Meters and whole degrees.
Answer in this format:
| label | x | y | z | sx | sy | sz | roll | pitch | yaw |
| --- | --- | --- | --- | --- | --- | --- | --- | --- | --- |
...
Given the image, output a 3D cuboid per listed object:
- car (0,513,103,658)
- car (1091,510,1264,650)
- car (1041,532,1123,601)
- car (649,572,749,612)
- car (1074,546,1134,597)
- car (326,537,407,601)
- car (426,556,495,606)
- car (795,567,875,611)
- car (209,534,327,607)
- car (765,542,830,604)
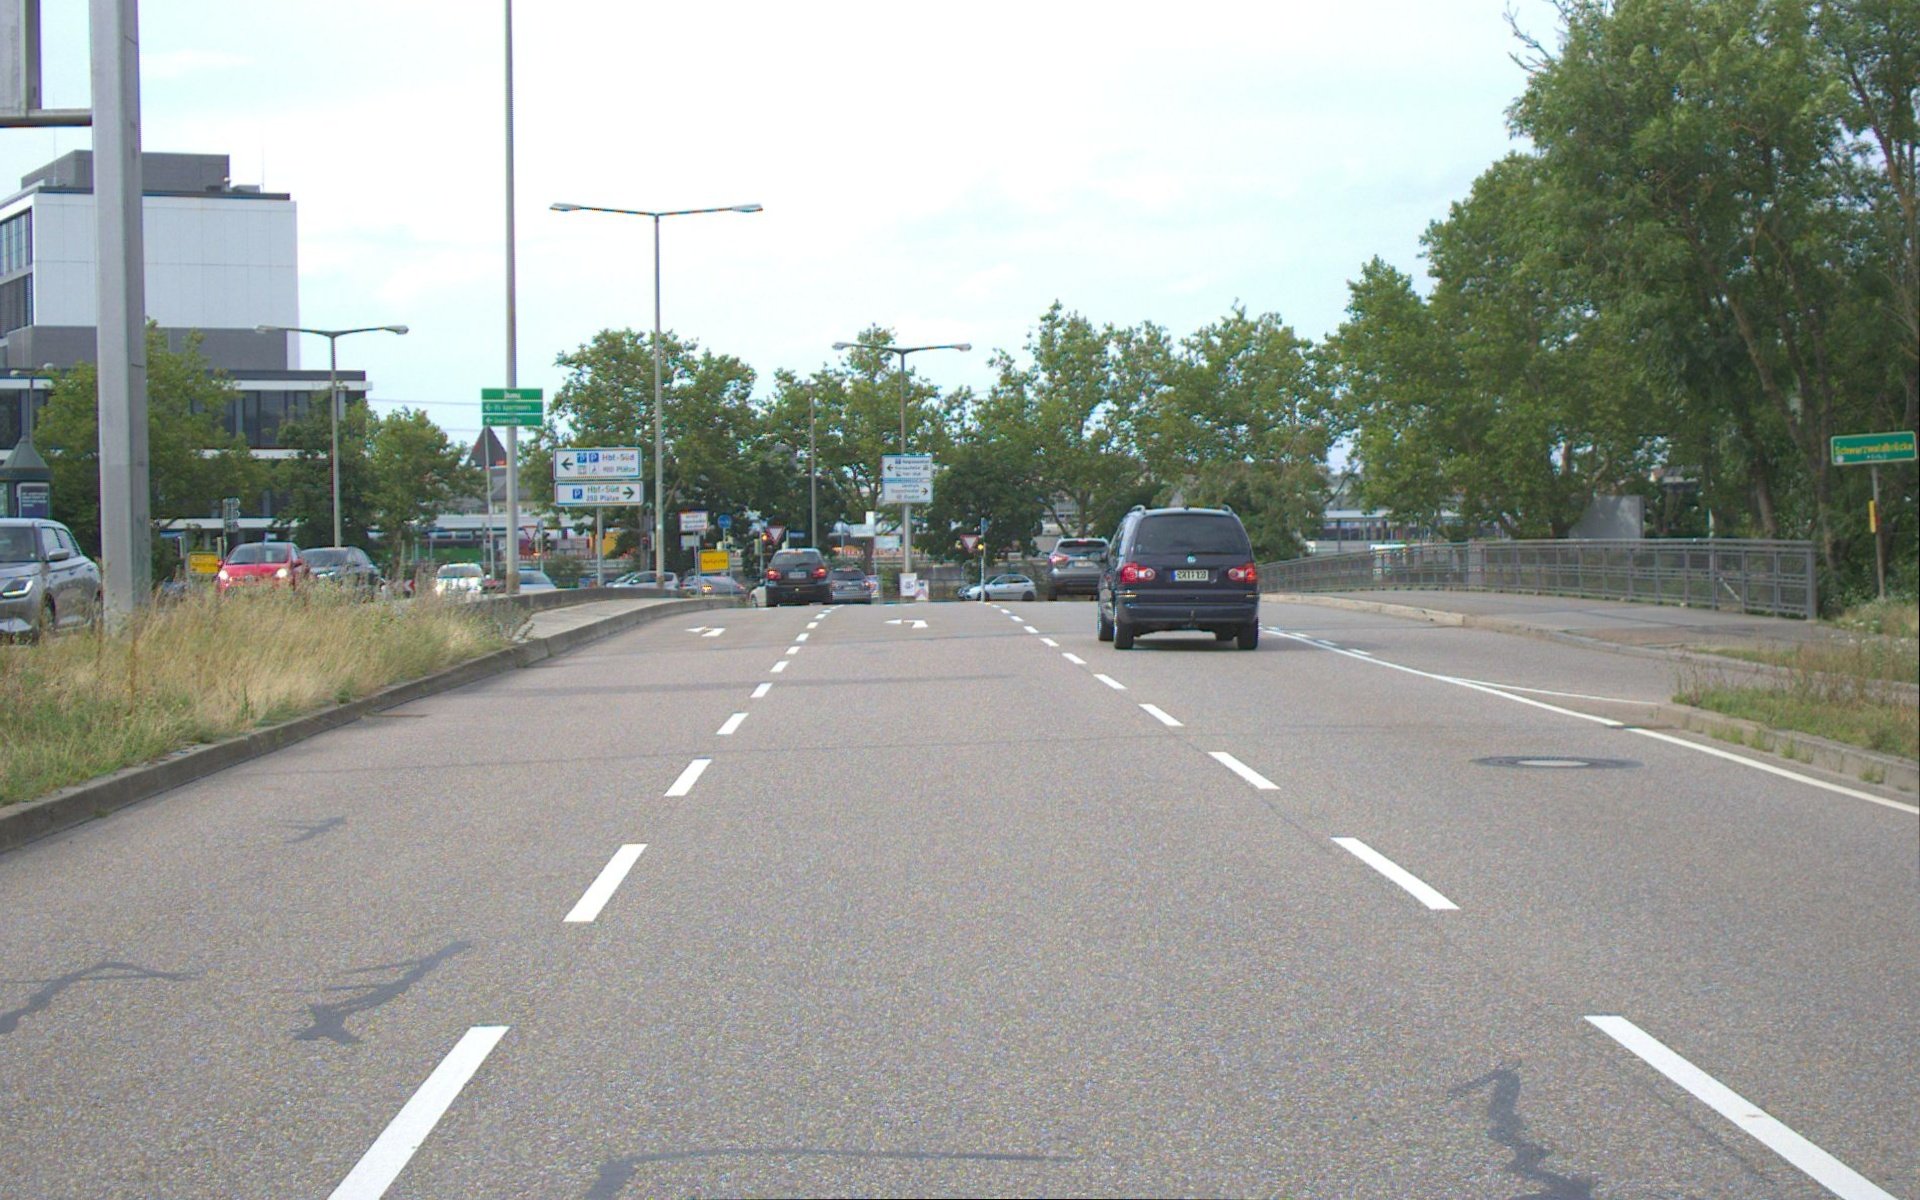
| label | x | y | z | sx | sy | sz | roll | pitch | yaw |
| --- | --- | --- | --- | --- | --- | --- | --- | --- | --- |
| car | -10.469 | -0.175 | 36.989 | 1.694 | 1.481 | 3.861 | 0 | 1 | -3 |
| car | 2.665 | -0.287 | 42.919 | 1.730 | 1.647 | 4.115 | 0 | 1 | -2 |
| car | 3.024 | -0.859 | 86.009 | 1.730 | 1.647 | 4.115 | 0 | 1 | -2 |
| car | -9.839 | -0.318 | 129.333 | 3.630 | 1.414 | 1.732 | 1 | 2 | 43 |
| car | 4.277 | -0.857 | 102.446 | 1.507 | 1.442 | 3.140 | 0 | 2 | -3 |
| car | -19.397 | -1.035 | 112.533 | 1.993 | 2.006 | 4.001 | 1 | 2 | 0 |
| car | -15.494 | -0.595 | 106.822 | 1.736 | 1.477 | 4.084 | -3 | 1 | -4 |
| car | -4.637 | -0.419 | 126.702 | 1.730 | 1.521 | 4.116 | 0 | 1 | -20 |
| car | -14.707 | -0.625 | 73.255 | 1.792 | 1.436 | 3.798 | -2 | 1 | -2 |
| car | -4.461 | -0.765 | 94.672 | 1.730 | 1.647 | 4.115 | 0 | 1 | -2 |
